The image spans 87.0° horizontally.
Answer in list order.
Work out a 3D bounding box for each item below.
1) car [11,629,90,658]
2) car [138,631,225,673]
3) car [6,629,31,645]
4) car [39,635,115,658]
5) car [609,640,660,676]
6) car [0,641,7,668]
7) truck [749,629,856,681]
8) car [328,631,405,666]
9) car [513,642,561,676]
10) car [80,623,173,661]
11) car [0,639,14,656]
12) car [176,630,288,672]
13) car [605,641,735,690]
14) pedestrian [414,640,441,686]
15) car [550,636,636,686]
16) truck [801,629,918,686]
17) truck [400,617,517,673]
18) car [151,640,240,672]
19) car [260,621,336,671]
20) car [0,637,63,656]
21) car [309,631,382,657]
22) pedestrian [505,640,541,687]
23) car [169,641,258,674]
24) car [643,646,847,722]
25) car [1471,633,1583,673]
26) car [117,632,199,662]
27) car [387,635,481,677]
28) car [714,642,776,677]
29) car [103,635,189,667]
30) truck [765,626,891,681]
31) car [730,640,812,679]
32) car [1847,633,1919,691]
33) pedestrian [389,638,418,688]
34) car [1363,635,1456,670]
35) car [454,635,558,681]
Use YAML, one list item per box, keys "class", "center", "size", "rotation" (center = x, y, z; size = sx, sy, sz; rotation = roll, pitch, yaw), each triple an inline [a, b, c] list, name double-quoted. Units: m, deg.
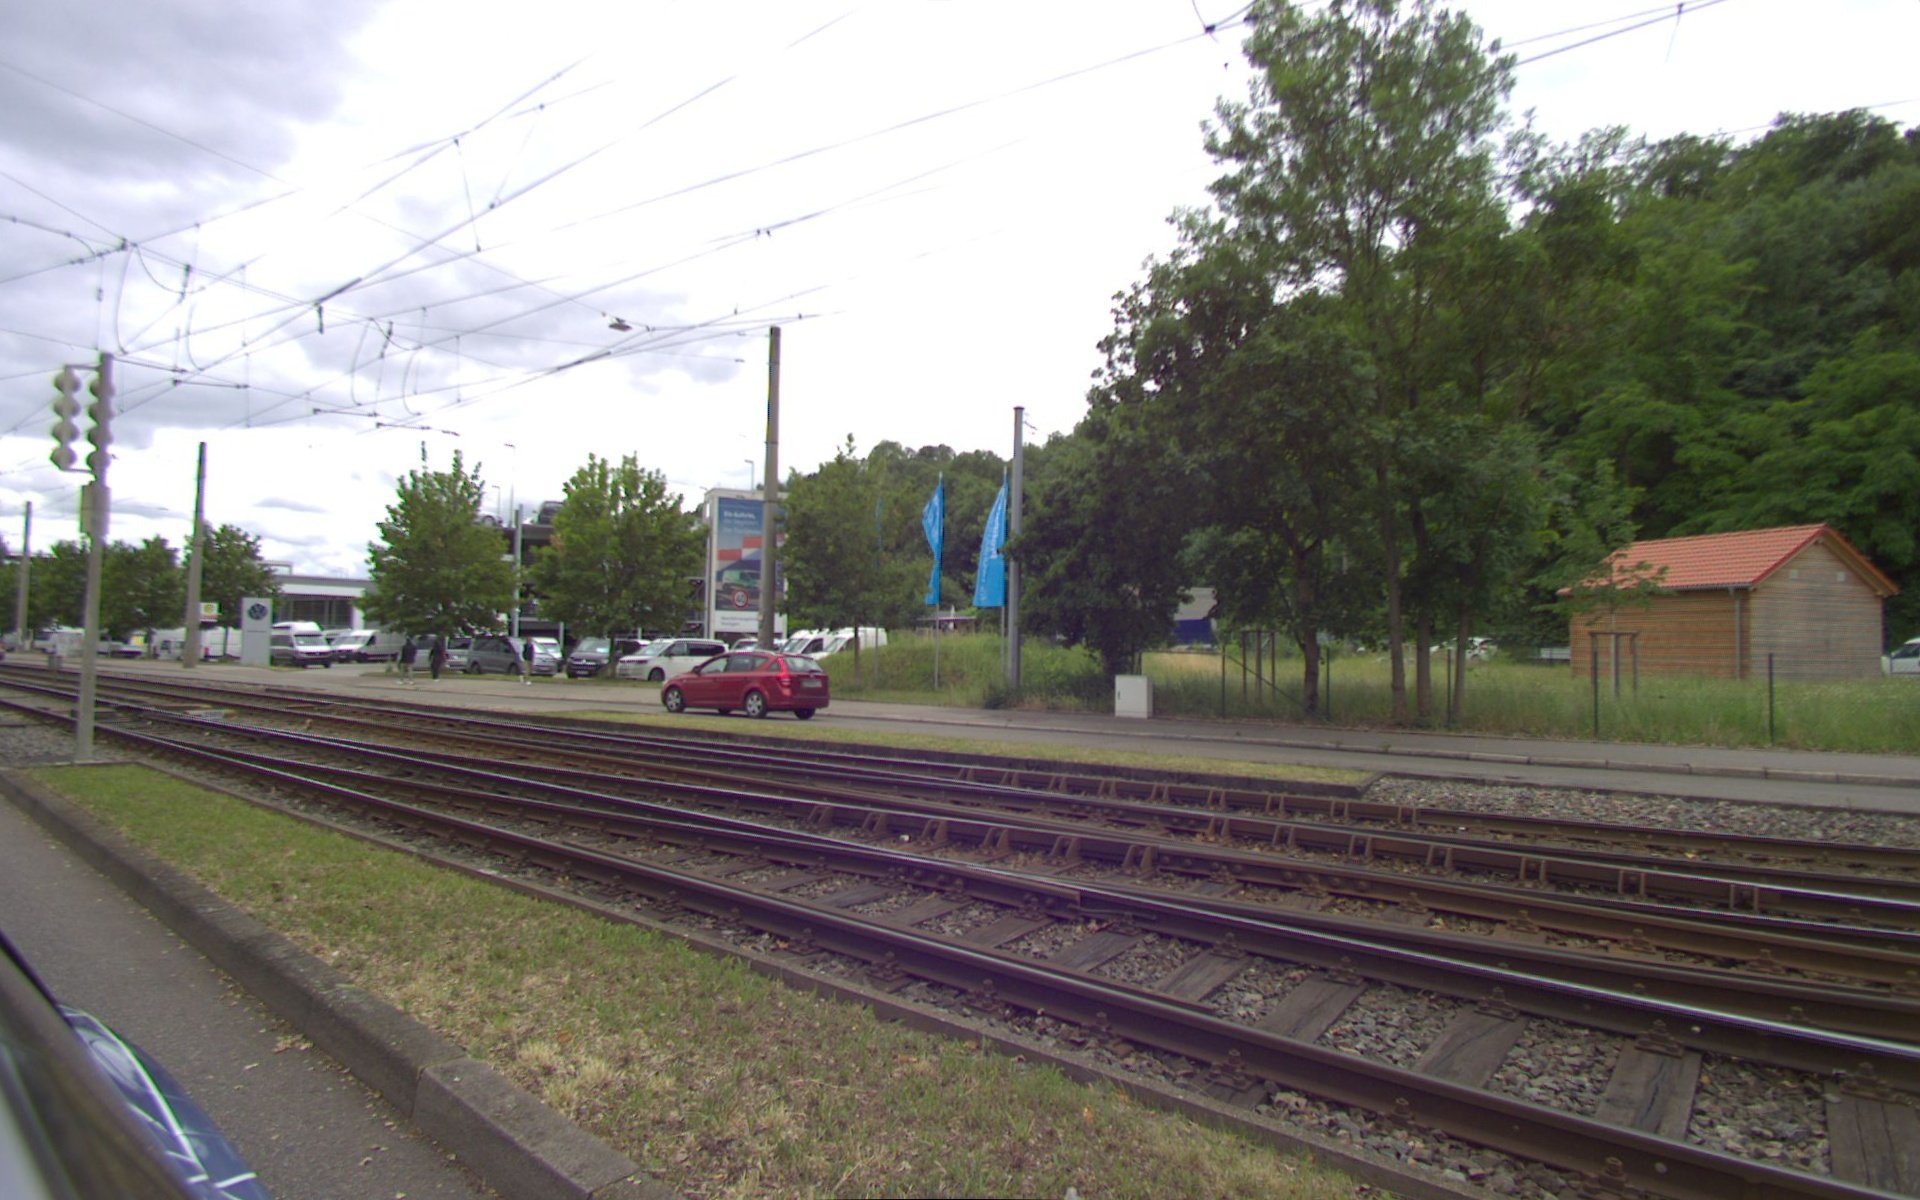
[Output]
- class: "car"
  center: [-74.803, 3.576, 83.300]
  size: [2.120, 2.329, 4.457]
  rotation: [-2, -4, 35]
- class: "car"
  center: [-53.995, 3.602, 70.273]
  size: [1.996, 2.841, 4.334]
  rotation: [-1, -4, 30]
- class: "car"
  center: [-129.180, 5.076, 138.865]
  size: [1.967, 2.029, 4.009]
  rotation: [3, -4, -35]
- class: "car"
  center: [-72.352, 3.844, 82.958]
  size: [2.000, 1.859, 4.327]
  rotation: [-2, -4, 35]
- class: "car"
  center: [-19.079, 3.369, 59.273]
  size: [1.965, 2.028, 4.481]
  rotation: [2, -4, -29]
- class: "car"
  center: [-57.678, 3.124, 59.254]
  size: [4.248, 1.544, 1.873]
  rotation: [-2, -7, 36]
- class: "truck"
  center: [-8.315, 2.930, 53.452]
  size: [4.985, 2.608, 2.476]
  rotation: [2, -4, -30]
- class: "car"
  center: [-45.517, 3.740, 77.862]
  size: [1.979, 2.622, 5.943]
  rotation: [0, -3, 5]
- class: "car"
  center: [-23.909, 3.302, 57.101]
  size: [1.965, 1.845, 4.481]
  rotation: [2, -4, -29]
- class: "car"
  center: [-62.691, 3.191, 76.177]
  size: [2.107, 2.719, 4.930]
  rotation: [-1, -3, 30]
- class: "car"
  center: [-95.066, 4.632, 98.427]
  size: [2.059, 1.630, 4.140]
  rotation: [-2, -4, 36]
- class: "car"
  center: [-47.526, 3.332, 66.173]
  size: [2.241, 2.622, 5.426]
  rotation: [-2, -4, 34]
- class: "car"
  center: [-12.050, 2.697, 42.377]
  size: [2.161, 1.902, 5.013]
  rotation: [-2, -3, 34]
- class: "pedestrian"
  center: [-20.436, 2.399, 38.866]
  size: [0.854, 1.726, 0.622]
  rotation: [-2, -2, 37]
- class: "car"
  center: [-16.118, 2.684, 44.756]
  size: [2.135, 2.029, 5.074]
  rotation: [1, -3, -2]
- class: "truck"
  center: [-4.772, 2.738, 48.055]
  size: [4.984, 2.608, 2.476]
  rotation: [2, -4, -24]
- class: "truck"
  center: [-28.909, 2.654, 58.529]
  size: [5.835, 3.108, 2.126]
  rotation: [2, -4, -26]
- class: "car"
  center: [-52.081, 3.803, 69.014]
  size: [1.996, 2.121, 4.334]
  rotation: [-1, -3, 30]
- class: "car"
  center: [-42.272, 2.927, 64.555]
  size: [5.926, 3.042, 2.088]
  rotation: [-2, -4, 37]
- class: "car"
  center: [-82.709, 4.159, 89.728]
  size: [1.998, 1.630, 4.331]
  rotation: [-1, -4, 32]
- class: "car"
  center: [-51.178, 3.689, 84.342]
  size: [1.996, 2.029, 4.799]
  rotation: [-2, -4, 36]
- class: "pedestrian"
  center: [-15.731, 2.280, 36.423]
  size: [1.037, 1.668, 0.713]
  rotation: [-2, -1, 27]
- class: "car"
  center: [-49.873, 3.821, 67.708]
  size: [1.996, 2.121, 4.334]
  rotation: [-1, -3, 30]
- class: "car"
  center: [-4.980, 1.911, 23.273]
  size: [4.489, 1.527, 1.977]
  rotation: [-1, -6, 34]
- class: "car"
  center: [25.019, 2.323, 44.832]
  size: [1.965, 1.674, 4.012]
  rotation: [1, -3, -19]
- class: "car"
  center: [-59.840, 3.504, 75.612]
  size: [1.996, 2.189, 4.334]
  rotation: [-1, -3, 30]
- class: "car"
  center: [-26.310, 2.785, 50.596]
  size: [4.904, 2.029, 1.978]
  rotation: [-1, -4, 33]
- class: "car"
  center: [-13.035, 3.584, 61.497]
  size: [1.982, 2.029, 4.257]
  rotation: [-2, -3, 15]
- class: "car"
  center: [-58.525, 3.672, 72.811]
  size: [1.996, 2.189, 4.334]
  rotation: [-1, -3, 30]
- class: "truck"
  center: [-6.592, 2.685, 50.685]
  size: [5.679, 2.608, 2.476]
  rotation: [3, -4, -30]
- class: "car"
  center: [-10.349, 3.250, 55.470]
  size: [3.935, 2.029, 2.004]
  rotation: [2, -3, -38]
- class: "car"
  center: [34.852, 2.215, 36.073]
  size: [1.965, 2.029, 4.417]
  rotation: [1, -3, -24]
- class: "pedestrian"
  center: [-20.932, 2.364, 38.081]
  size: [0.854, 1.827, 0.670]
  rotation: [-2, -2, 37]
- class: "car"
  center: [22.226, 2.587, 50.176]
  size: [1.965, 1.674, 4.012]
  rotation: [1, -3, -19]
- class: "car"
  center: [-21.164, 2.664, 47.112]
  size: [5.115, 2.029, 1.977]
  rotation: [-1, -4, 33]
